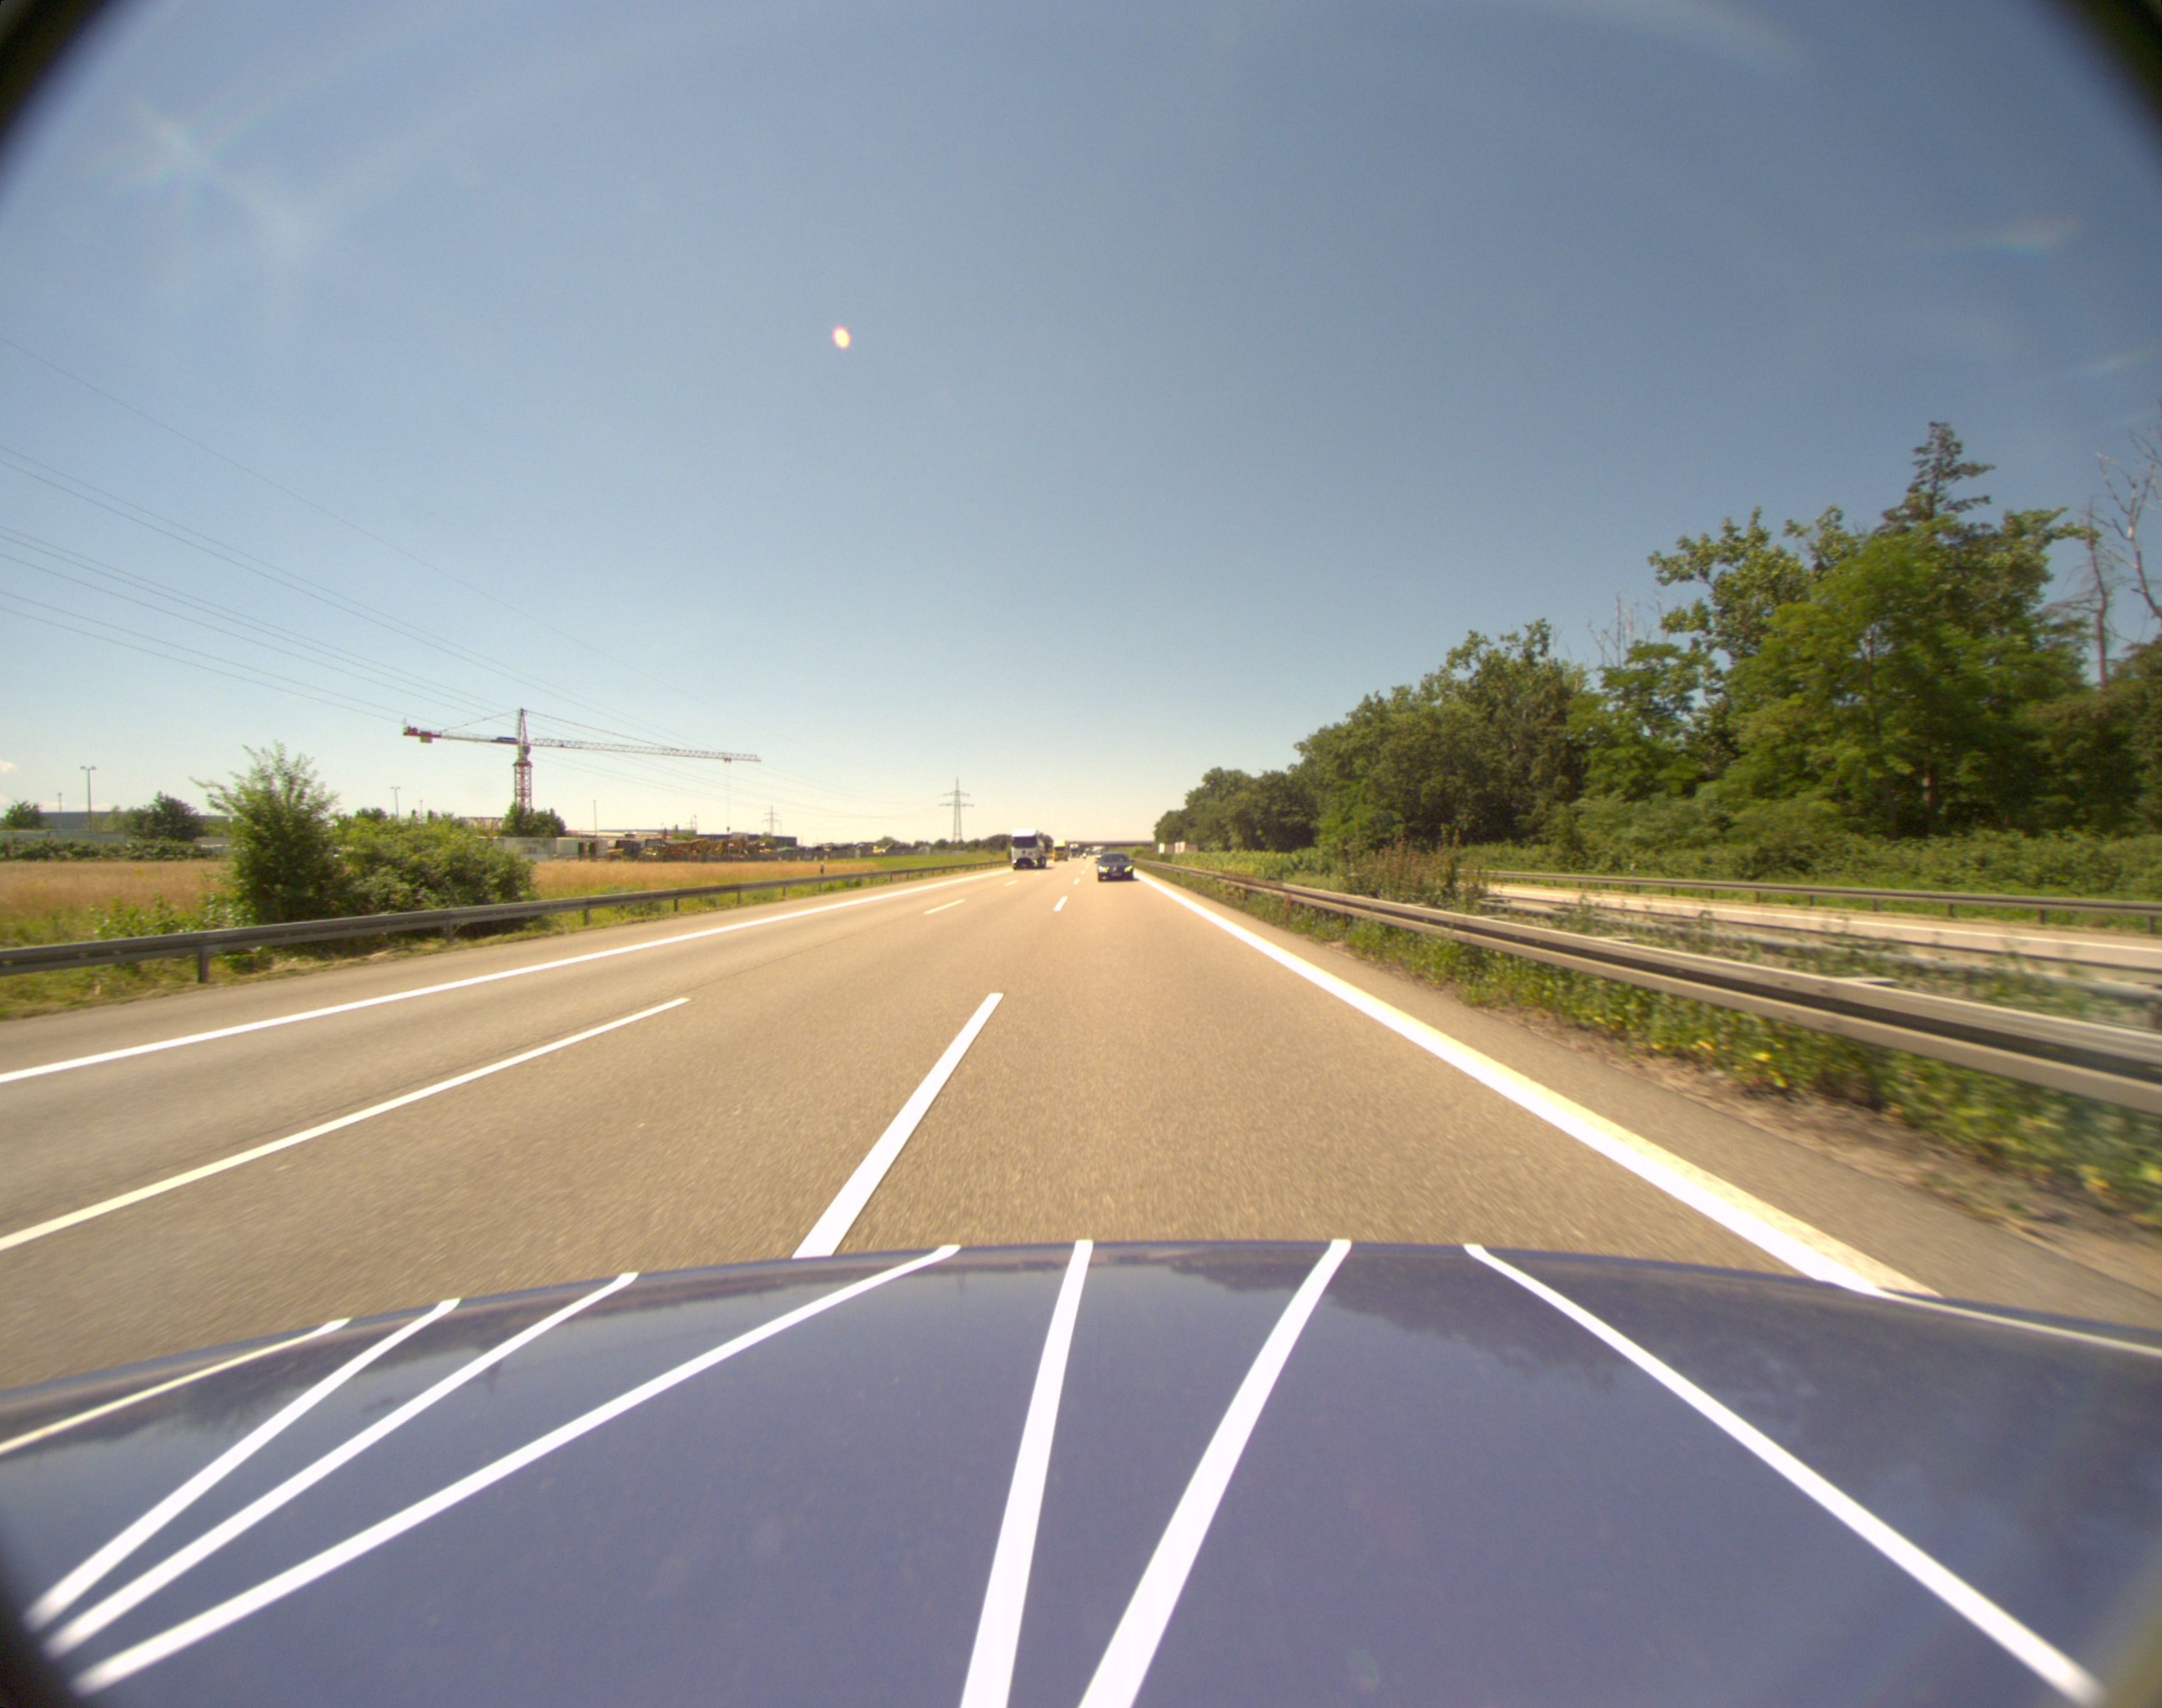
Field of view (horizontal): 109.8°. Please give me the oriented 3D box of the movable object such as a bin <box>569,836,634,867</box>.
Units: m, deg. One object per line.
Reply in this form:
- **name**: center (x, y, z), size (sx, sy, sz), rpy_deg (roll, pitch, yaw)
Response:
- **movable object such as a bin**: center (-78.389, -0.350, 124.240), size (8.826, 4.623, 3.295), rpy_deg (-2, 1, 11)

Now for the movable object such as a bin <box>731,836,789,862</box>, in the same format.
- **movable object such as a bin**: center (-53.519, -0.773, 126.732), size (8.112, 3.928, 3.137), rpy_deg (-2, 1, 3)

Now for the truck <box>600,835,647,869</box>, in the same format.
- **truck**: center (-68.546, -0.332, 114.008), size (3.051, 4.745, 5.982), rpy_deg (-2, 1, 2)

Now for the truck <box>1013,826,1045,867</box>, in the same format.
- **truck**: center (-5.084, -0.737, 75.087), size (2.573, 3.871, 5.722), rpy_deg (-2, 1, 1)

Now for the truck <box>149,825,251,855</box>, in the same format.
- **truck**: center (-102.447, -1.563, 88.462), size (8.171, 3.392, 2.755), rpy_deg (0, 1, -5)

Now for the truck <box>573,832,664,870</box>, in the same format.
- **truck**: center (-62.708, -0.475, 103.749), size (3.051, 4.745, 14.323), rpy_deg (-2, 1, 2)

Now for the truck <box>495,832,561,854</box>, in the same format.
- **truck**: center (-89.389, -1.745, 122.976), size (8.178, 3.392, 2.833), rpy_deg (0, 1, -15)

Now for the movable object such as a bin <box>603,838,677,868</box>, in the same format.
- **movable object such as a bin**: center (-55.551, -0.156, 95.882), size (7.583, 3.443, 2.881), rpy_deg (-2, 1, 3)

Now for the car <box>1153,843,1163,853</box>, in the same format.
- **car**: center (19.281, -1.432, 190.971), size (2.130, 2.452, 5.085), rpy_deg (0, 0, 0)

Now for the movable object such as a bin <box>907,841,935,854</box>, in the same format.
- **movable object such as a bin**: center (-51.595, -2.105, 244.539), size (8.112, 3.916, 2.881), rpy_deg (-2, 1, 3)

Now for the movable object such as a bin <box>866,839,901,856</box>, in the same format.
- **movable object such as a bin**: center (-51.849, -1.721, 199.638), size (8.112, 3.883, 2.881), rpy_deg (-2, 1, 3)

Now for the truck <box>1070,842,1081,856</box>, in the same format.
- **truck**: center (-1.626, -1.536, 231.963), size (2.977, 4.240, 12.610), rpy_deg (0, 1, 1)

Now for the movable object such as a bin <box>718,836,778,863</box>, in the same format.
- **movable object such as a bin**: center (-53.754, -0.723, 122.908), size (8.112, 3.928, 3.137), rpy_deg (-2, 1, 3)

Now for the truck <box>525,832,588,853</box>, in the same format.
- **truck**: center (-87.664, -1.862, 127.162), size (8.178, 3.392, 2.833), rpy_deg (0, 1, -15)

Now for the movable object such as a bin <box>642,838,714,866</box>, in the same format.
- **movable object such as a bin**: center (-54.613, -0.269, 103.015), size (8.112, 3.443, 2.881), rpy_deg (-2, 1, 3)

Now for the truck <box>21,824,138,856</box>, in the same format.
- **truck**: center (-106.755, -1.471, 81.108), size (8.171, 3.392, 2.755), rpy_deg (0, 1, -5)

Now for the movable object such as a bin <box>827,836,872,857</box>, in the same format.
- **movable object such as a bin**: center (-54.336, -1.692, 178.688), size (9.378, 4.486, 3.436), rpy_deg (-2, 1, 3)

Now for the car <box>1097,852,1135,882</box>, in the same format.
- **car**: center (1.787, 0.645, 39.986), size (1.808, 1.385, 3.999), rpy_deg (-2, 1, 1)

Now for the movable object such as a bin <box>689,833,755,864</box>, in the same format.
- **movable object such as a bin**: center (-54.153, -0.797, 114.697), size (8.112, 4.272, 3.351), rpy_deg (-2, 1, 3)

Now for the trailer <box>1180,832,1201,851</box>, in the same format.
- **trailer**: center (22.022, -2.459, 152.998), size (2.933, 3.806, 9.274), rpy_deg (0, 1, 1)

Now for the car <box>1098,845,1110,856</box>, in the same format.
- **car**: center (3.860, -0.596, 127.430), size (1.861, 1.696, 3.999), rpy_deg (0, 1, 1)

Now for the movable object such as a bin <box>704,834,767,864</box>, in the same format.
- **movable object such as a bin**: center (-53.964, -0.848, 118.876), size (8.112, 4.272, 3.299), rpy_deg (-2, 1, 3)

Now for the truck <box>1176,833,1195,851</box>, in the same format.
- **truck**: center (22.158, -2.560, 162.249), size (2.933, 3.806, 9.274), rpy_deg (0, 1, 1)

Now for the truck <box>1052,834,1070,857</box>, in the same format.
- **truck**: center (-3.697, -1.698, 146.819), size (2.977, 4.240, 12.610), rpy_deg (0, 1, 1)

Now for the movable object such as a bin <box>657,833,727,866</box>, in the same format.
- **movable object such as a bin**: center (-54.402, -0.655, 106.288), size (8.112, 4.272, 2.881), rpy_deg (-2, 1, 3)

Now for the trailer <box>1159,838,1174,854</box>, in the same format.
- **trailer**: center (22.481, -2.166, 200.743), size (2.543, 4.067, 14.244), rpy_deg (1, 1, 1)

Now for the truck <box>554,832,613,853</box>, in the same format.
- **truck**: center (-85.987, -1.977, 131.373), size (8.172, 3.392, 2.835), rpy_deg (0, 1, -7)

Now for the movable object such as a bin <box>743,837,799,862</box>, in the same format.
- **movable object such as a bin**: center (-53.332, -0.822, 130.749), size (8.112, 3.928, 3.137), rpy_deg (-2, 1, 3)

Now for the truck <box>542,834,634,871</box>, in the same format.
- **truck**: center (-68.813, -0.246, 106.767), size (3.051, 4.745, 14.134), rpy_deg (-2, 1, 2)

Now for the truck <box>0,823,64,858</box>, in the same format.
- **truck**: center (-108.416, -1.356, 76.813), size (8.163, 3.392, 2.830), rpy_deg (0, 1, 5)

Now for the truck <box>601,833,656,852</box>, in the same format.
- **truck**: center (-82.815, -2.131, 139.097), size (8.176, 3.392, 2.834), rpy_deg (0, 1, -12)

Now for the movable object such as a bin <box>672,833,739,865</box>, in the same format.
- **movable object such as a bin**: center (-54.244, -0.744, 109.897), size (8.112, 4.272, 2.881), rpy_deg (-2, 1, 3)

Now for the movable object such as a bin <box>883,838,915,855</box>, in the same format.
- **movable object such as a bin**: center (-51.522, -2.060, 214.909), size (8.112, 4.349, 2.881), rpy_deg (-2, 1, 3)

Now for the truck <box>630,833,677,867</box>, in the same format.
- **truck**: center (-62.454, -0.562, 111.174), size (3.051, 4.745, 5.982), rpy_deg (-2, 1, 2)

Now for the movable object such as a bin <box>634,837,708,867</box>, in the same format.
- **movable object such as a bin**: center (-53.699, -0.273, 99.602), size (8.112, 3.443, 2.881), rpy_deg (-2, 1, 3)

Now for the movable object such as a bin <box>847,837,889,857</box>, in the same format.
- **movable object such as a bin**: center (-53.282, -1.791, 190.541), size (9.378, 4.486, 3.436), rpy_deg (-2, 1, 3)

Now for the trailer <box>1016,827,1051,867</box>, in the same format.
- **trailer**: center (-4.983, -0.811, 81.867), size (2.573, 3.871, 13.278), rpy_deg (-2, 1, 1)
